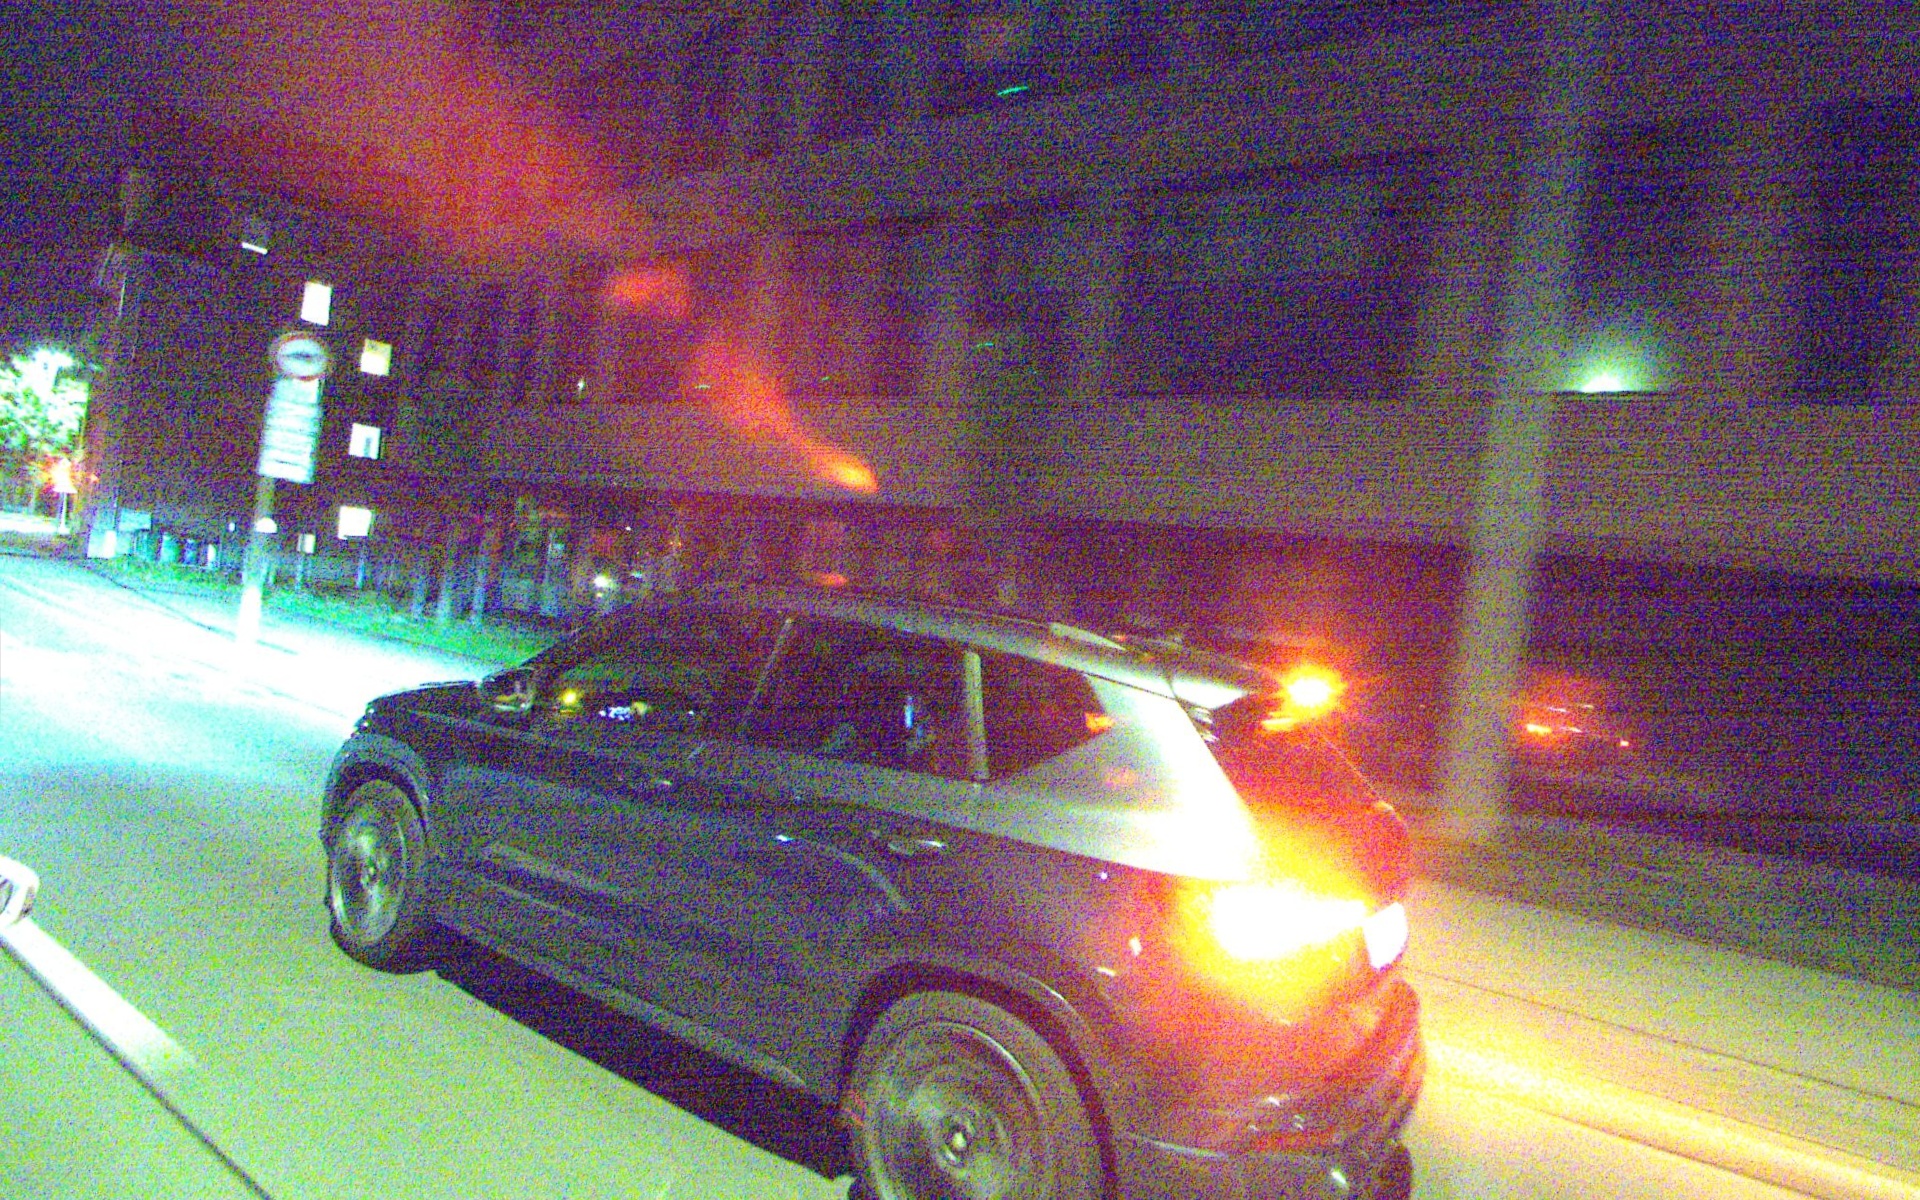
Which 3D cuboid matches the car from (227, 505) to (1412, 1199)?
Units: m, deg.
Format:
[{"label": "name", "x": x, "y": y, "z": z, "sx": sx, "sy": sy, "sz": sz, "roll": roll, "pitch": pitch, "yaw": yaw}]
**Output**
[{"label": "car", "x": -0.762, "y": 0.692, "z": 3.774, "sx": 4.160, "sy": 1.628, "sz": 1.673, "roll": 6, "pitch": -2, "yaw": 33}]
